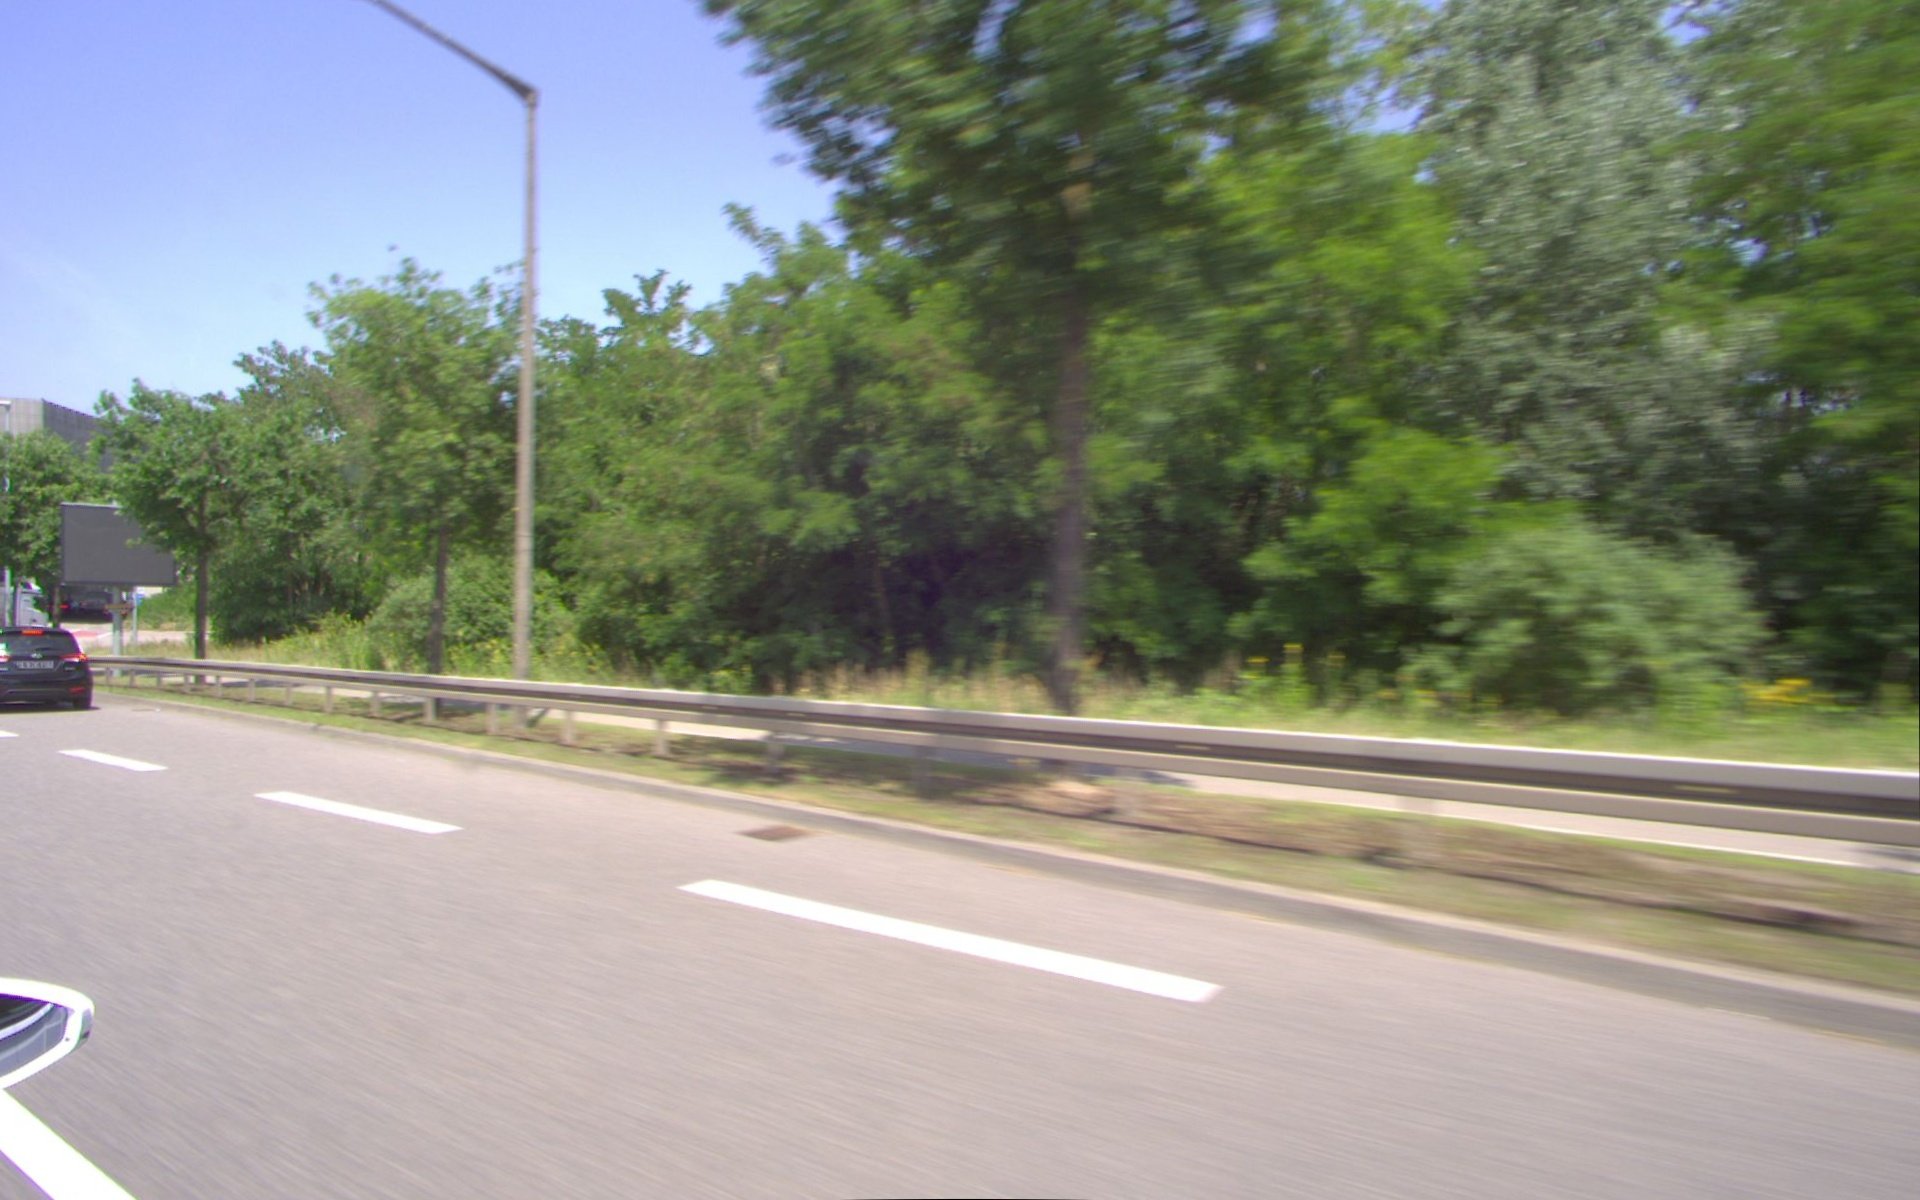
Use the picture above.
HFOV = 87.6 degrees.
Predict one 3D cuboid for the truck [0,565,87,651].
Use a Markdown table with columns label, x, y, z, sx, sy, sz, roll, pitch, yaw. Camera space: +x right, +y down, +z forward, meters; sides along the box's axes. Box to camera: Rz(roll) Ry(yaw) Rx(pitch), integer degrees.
| label | x | y | z | sx | sy | sz | roll | pitch | yaw |
| --- | --- | --- | --- | --- | --- | --- | --- | --- | --- |
| truck | -50.896 | 0.426 | 53.523 | 3.027 | 4.422 | 6.082 | 3 | -2 | -3 |

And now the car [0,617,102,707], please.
| label | x | y | z | sx | sy | sz | roll | pitch | yaw |
| --- | --- | --- | --- | --- | --- | --- | --- | --- | --- |
| car | -18.476 | 1.189 | 19.596 | 4.026 | 1.619 | 1.761 | -2 | -3 | 37 |

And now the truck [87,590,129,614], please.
| label | x | y | z | sx | sy | sz | roll | pitch | yaw |
| --- | --- | --- | --- | --- | --- | --- | --- | --- | --- |
| truck | -90.174 | 0.220 | 106.049 | 2.039 | 2.571 | 3.990 | 0 | 0 | -19 |

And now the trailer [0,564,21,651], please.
| label | x | y | z | sx | sy | sz | roll | pitch | yaw |
| --- | --- | --- | --- | --- | --- | --- | --- | --- | --- |
| trailer | -48.179 | 0.250 | 46.296 | 3.045 | 4.423 | 14.702 | 4 | -2 | -28 |
